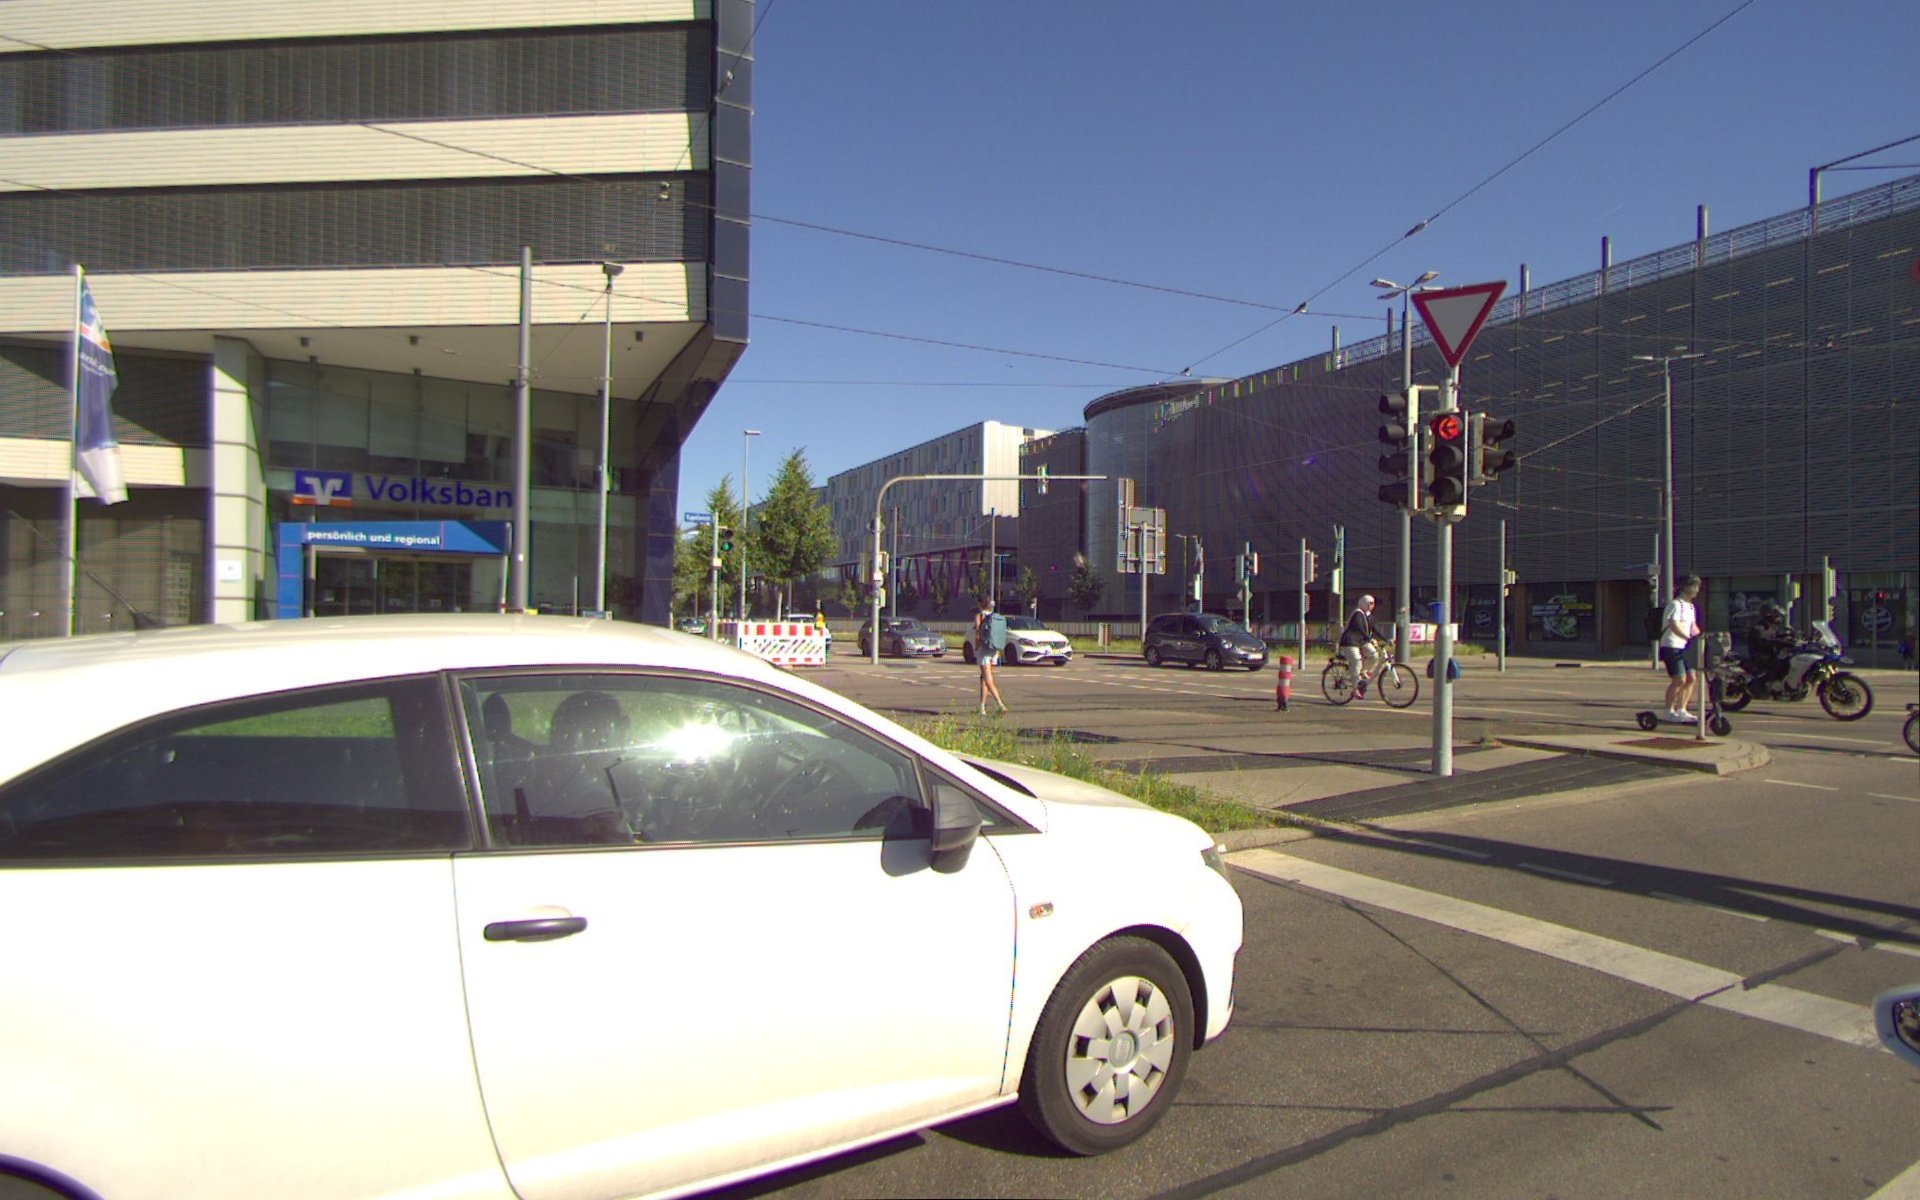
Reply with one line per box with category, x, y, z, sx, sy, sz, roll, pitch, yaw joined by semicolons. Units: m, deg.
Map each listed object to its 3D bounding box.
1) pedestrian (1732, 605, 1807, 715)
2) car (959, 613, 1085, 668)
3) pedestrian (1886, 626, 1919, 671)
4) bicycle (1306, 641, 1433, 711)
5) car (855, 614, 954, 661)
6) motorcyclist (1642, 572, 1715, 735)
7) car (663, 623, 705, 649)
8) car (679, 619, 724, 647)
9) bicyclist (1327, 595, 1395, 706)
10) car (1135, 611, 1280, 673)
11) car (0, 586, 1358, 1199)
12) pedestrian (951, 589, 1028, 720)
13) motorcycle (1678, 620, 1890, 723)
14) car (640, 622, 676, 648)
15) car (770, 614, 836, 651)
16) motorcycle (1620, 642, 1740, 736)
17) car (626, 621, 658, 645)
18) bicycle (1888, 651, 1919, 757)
pedestrian;12.932;0.942;16.048;0.657;1.699;0.740;1;-1;-30
car;1.719;1.148;29.355;1.888;1.483;4.063;1;-1;-27
pedestrian;40.101;2.048;42.666;0.804;1.893;0.906;1;-1;13
bicycle;6.771;1.227;16.710;0.687;1.050;1.915;1;-1;-32
car;-2.129;1.357;37.280;1.976;1.637;4.256;1;-1;-30
motorcyclist;9.315;0.682;13.035;0.491;2.040;0.625;1;-1;-30
car;-18.836;2.440;68.447;1.824;1.673;4.221;1;-1;-28
car;-16.218;2.033;62.925;1.824;1.673;4.221;1;-1;-28
bicyclist;6.714;0.830;16.810;0.755;1.812;0.758;1;-1;-33
car;6.677;1.112;27.446;1.801;1.545;3.736;2;-1;-28
car;-0.838;0.753;2.791;3.738;1.442;1.624;2;1;-30
pedestrian;0.401;0.733;13.865;0.704;1.730;0.881;1;-1;-30
motorcycle;13.001;1.078;15.955;0.904;1.438;2.430;1;0;-31
car;-23.031;2.647;76.475;1.974;1.873;3.974;1;-1;-26
car;-7.506;1.539;47.751;1.824;1.673;4.221;1;-1;-28
motorcycle;9.317;1.127;13.024;0.477;1.136;1.181;1;-1;-30
car;-26.409;2.753;83.364;1.919;1.903;3.910;1;-1;-26
bicycle;10.824;1.116;10.468;0.726;1.121;1.568;1;-1;-31
